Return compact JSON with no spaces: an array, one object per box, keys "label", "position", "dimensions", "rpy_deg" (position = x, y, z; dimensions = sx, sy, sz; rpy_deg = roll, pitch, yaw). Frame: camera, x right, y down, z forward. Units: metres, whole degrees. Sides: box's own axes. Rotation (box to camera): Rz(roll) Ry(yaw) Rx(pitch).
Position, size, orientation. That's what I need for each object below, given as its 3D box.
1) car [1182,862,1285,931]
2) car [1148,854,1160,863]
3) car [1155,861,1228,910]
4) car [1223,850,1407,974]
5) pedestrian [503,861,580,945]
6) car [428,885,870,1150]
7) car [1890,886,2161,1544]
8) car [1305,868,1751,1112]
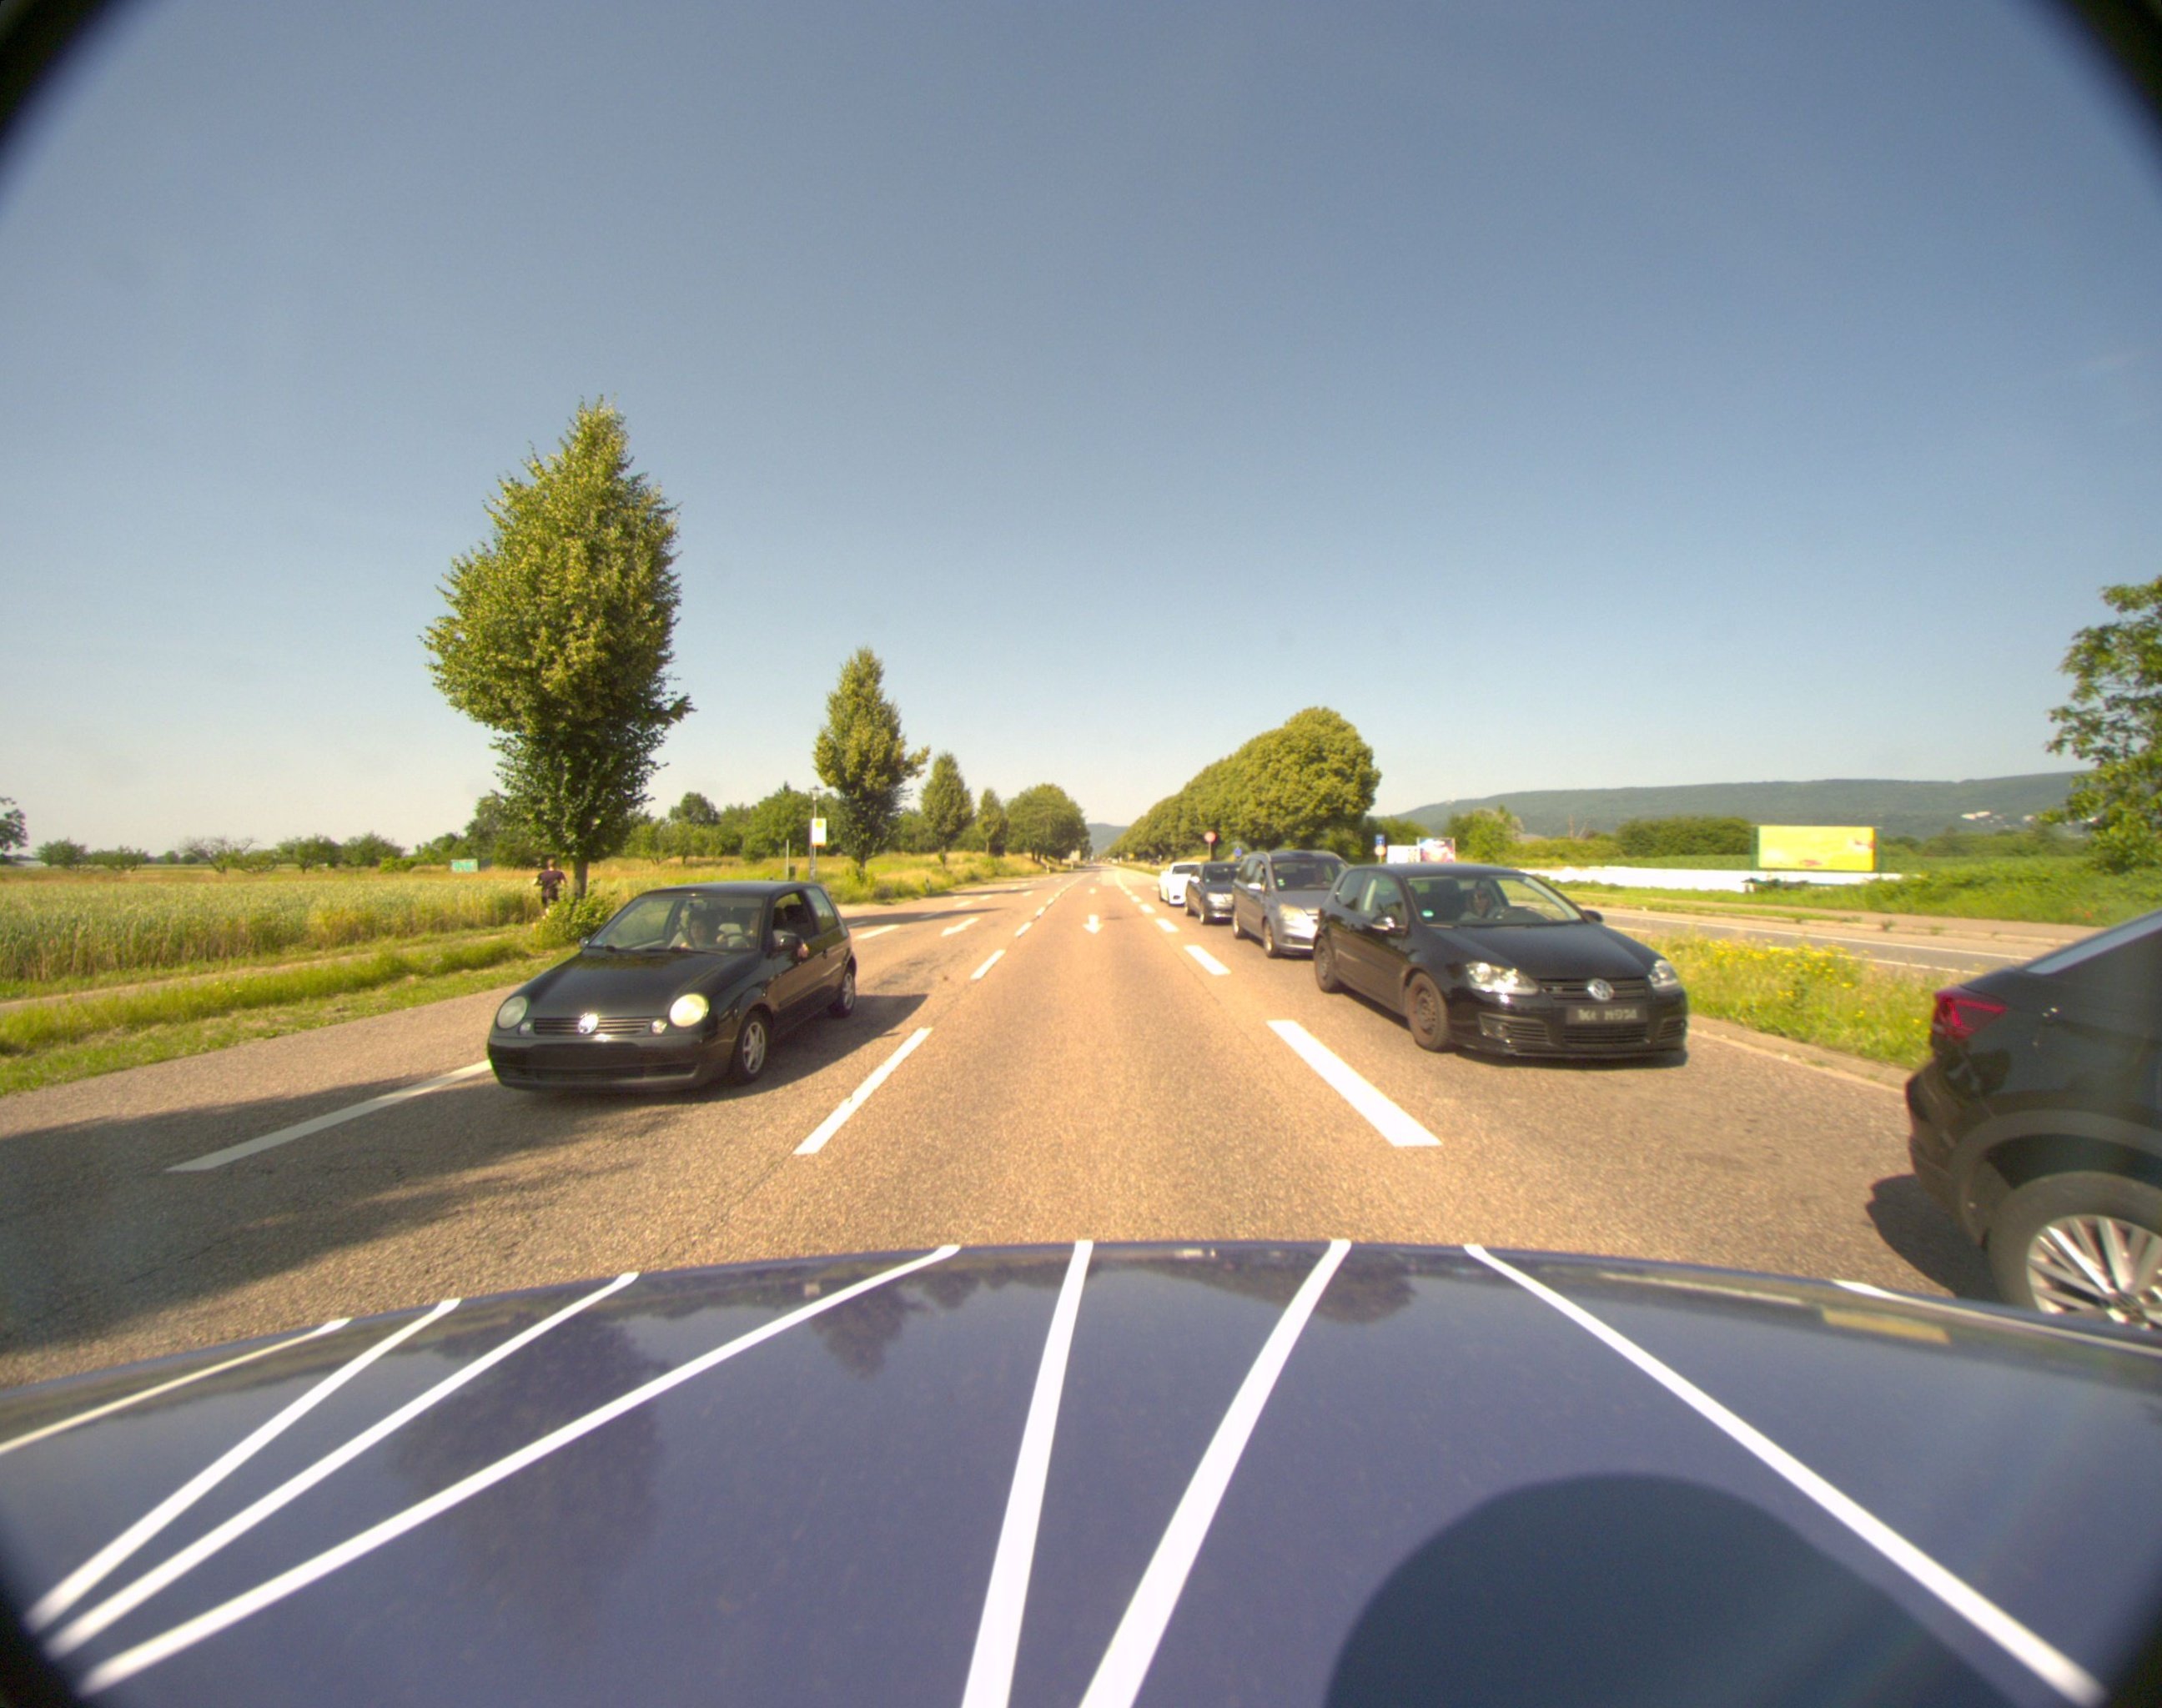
[{"label":"car","position":[3.582,0.950,18.616],"dimensions":[1.718,1.402,4.355],"rpy_deg":[-1,0,1]},{"label":"car","position":[15.663,0.867,163.176],"dimensions":[1.998,1.830,4.954],"rpy_deg":[2,0,1]},{"label":"car","position":[3.611,0.971,25.601],"dimensions":[1.808,1.417,4.641],"rpy_deg":[-1,0,1]},{"label":"car","position":[3.613,0.803,12.582],"dimensions":[1.745,1.662,4.357],"rpy_deg":[-2,0,1]},{"label":"pedestrian","position":[-12.288,1.083,17.349],"dimensions":[0.904,1.828,1.194],"rpy_deg":[0,0,-1]},{"label":"car","position":[-3.129,1.068,6.438],"dimensions":[1.629,1.425,3.622],"rpy_deg":[-2,0,0]},{"label":"car","position":[3.408,0.863,0.359],"dimensions":[1.733,1.538,4.098],"rpy_deg":[-1,0,1]},{"label":"car","position":[3.440,0.903,6.871],"dimensions":[1.670,1.466,4.098],"rpy_deg":[-1,0,1]}]
